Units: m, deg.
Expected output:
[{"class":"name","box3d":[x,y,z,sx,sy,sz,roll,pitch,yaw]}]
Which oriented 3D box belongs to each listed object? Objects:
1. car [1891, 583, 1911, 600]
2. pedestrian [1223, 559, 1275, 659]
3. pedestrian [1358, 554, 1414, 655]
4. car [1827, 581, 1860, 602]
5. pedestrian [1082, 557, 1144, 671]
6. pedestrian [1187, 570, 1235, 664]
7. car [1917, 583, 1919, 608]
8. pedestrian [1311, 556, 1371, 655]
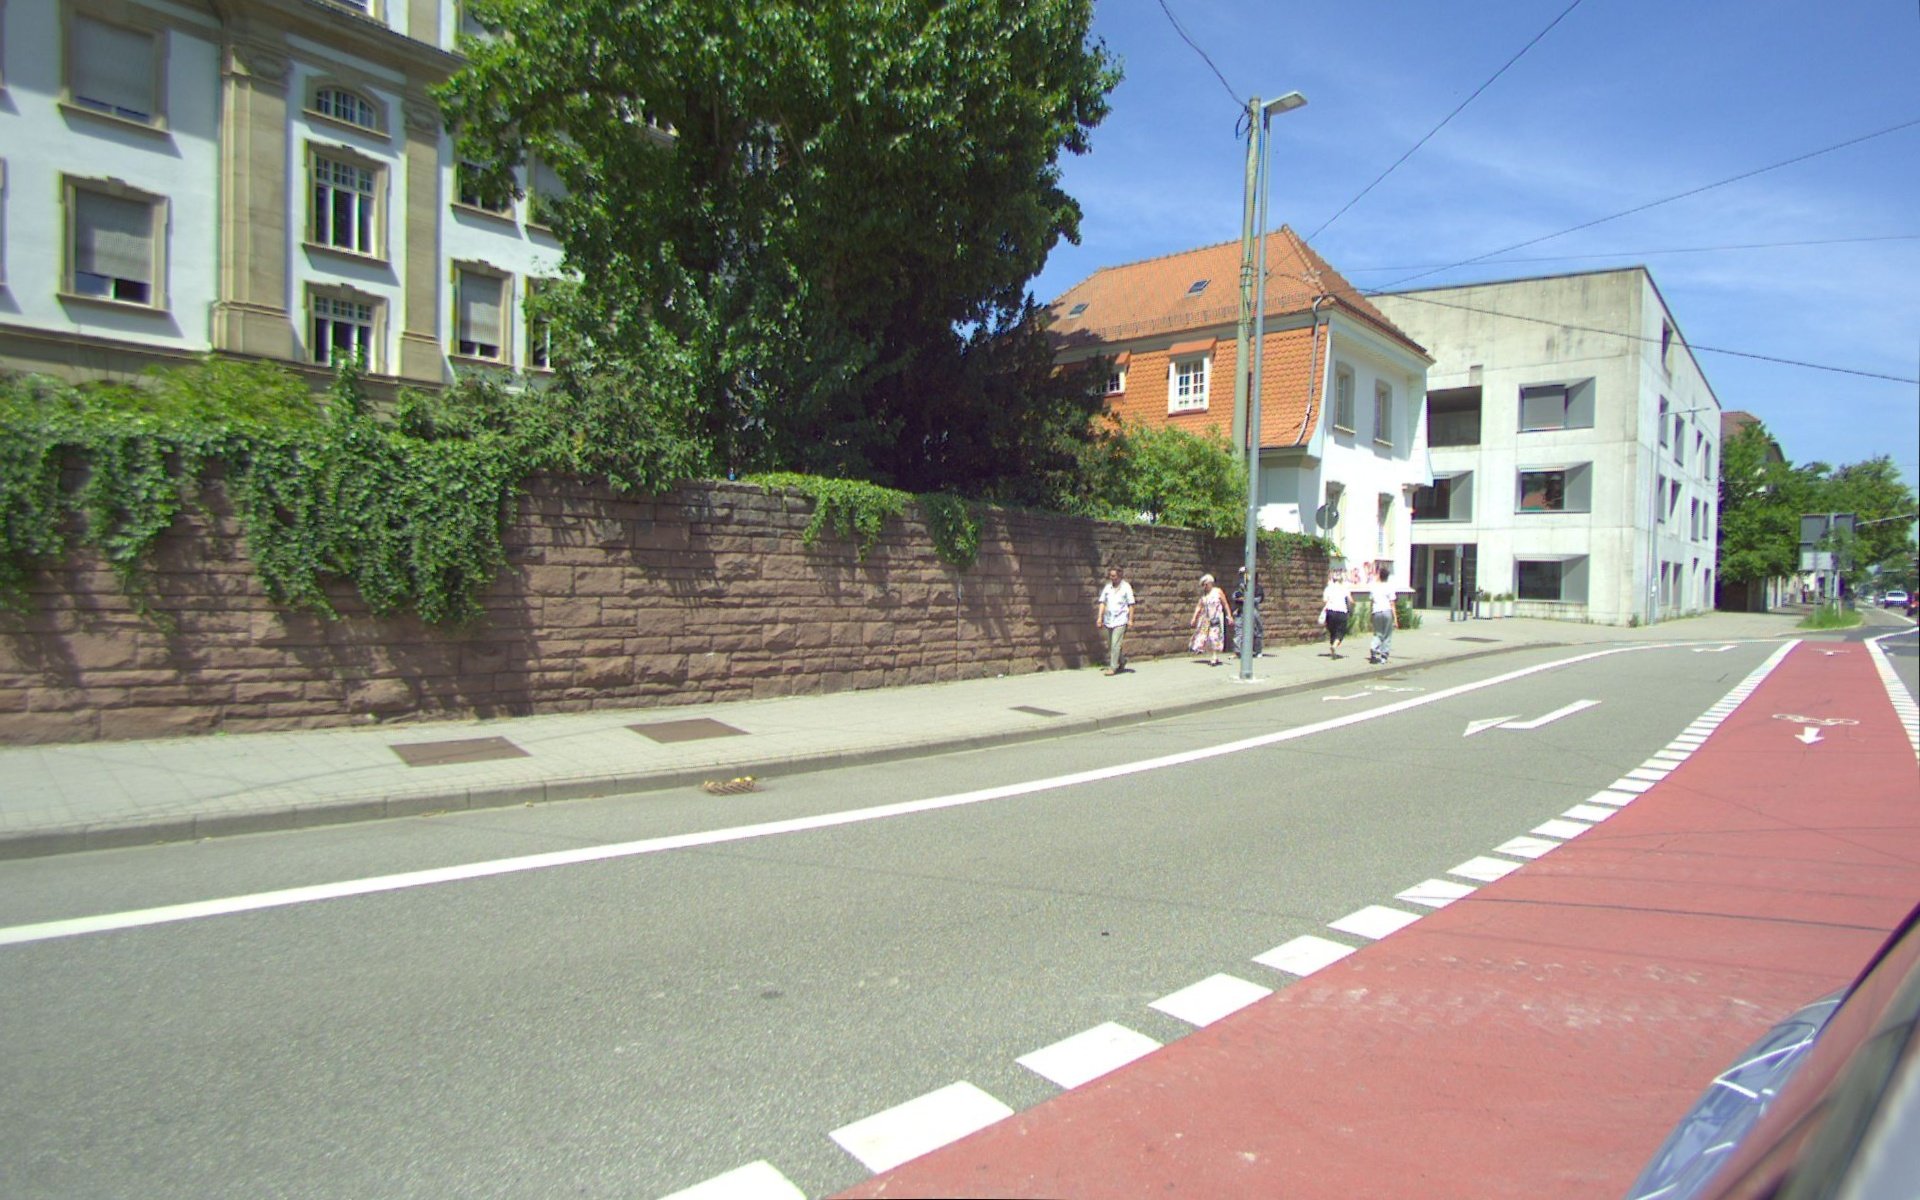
[{"class":"car","box3d":[105.262,-0.964,113.196,1.615,1.730,3.377,2,2,43]},{"class":"pedestrian","box3d":[5.348,0.150,18.704,0.714,1.795,0.620,2,0,37]},{"class":"pedestrian","box3d":[7.966,0.067,18.938,0.735,1.830,0.678,0,2,-44]},{"class":"car","box3d":[68.923,-0.650,78.954,1.859,1.597,4.803,2,1,42]},{"class":"pedestrian","box3d":[2.323,0.195,15.366,0.614,1.667,0.661,0,2,-43]},{"class":"pedestrian","box3d":[4.285,0.276,17.254,0.587,1.552,0.516,0,2,-43]},{"class":"car","box3d":[67.570,-0.320,69.934,1.869,1.668,3.723,2,2,41]},{"class":"pedestrian","box3d":[7.336,0.090,19.496,0.688,1.830,0.815,0,2,-43]}]
